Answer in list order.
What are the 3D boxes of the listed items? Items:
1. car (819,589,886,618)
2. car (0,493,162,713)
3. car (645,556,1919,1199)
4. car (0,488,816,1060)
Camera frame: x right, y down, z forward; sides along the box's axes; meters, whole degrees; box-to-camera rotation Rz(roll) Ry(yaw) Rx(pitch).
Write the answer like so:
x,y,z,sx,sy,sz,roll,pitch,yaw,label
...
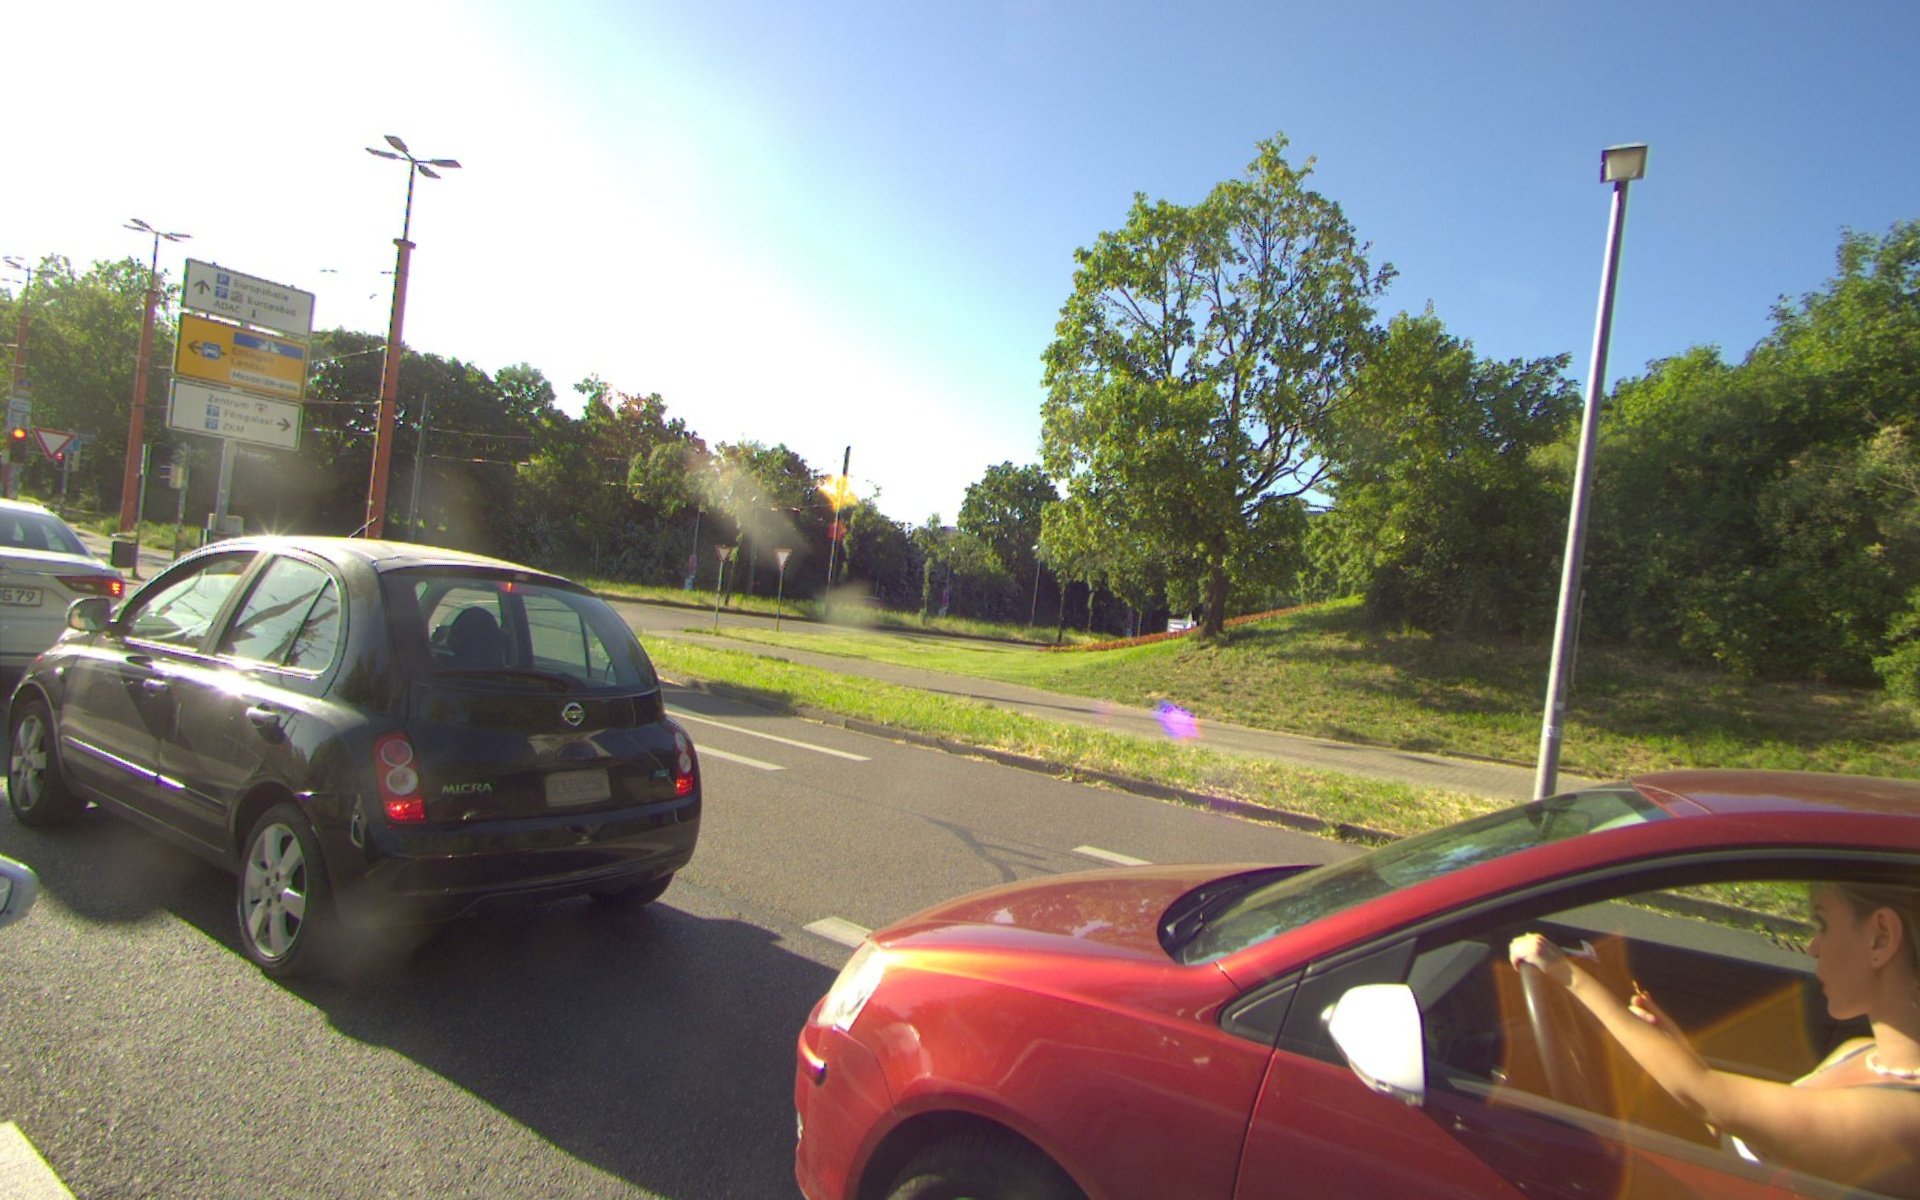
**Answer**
x,y,z,sx,sy,sz,roll,pitch,yaw,label
-7.769,0.232,72.873,4.244,1.513,1.984,8,0,-31,car
-8.348,-0.187,8.027,4.295,1.482,1.769,7,0,33,car
1.794,1.002,1.643,4.649,1.577,1.769,7,0,33,car
-3.077,0.428,4.878,4.546,1.500,1.737,7,0,32,car
